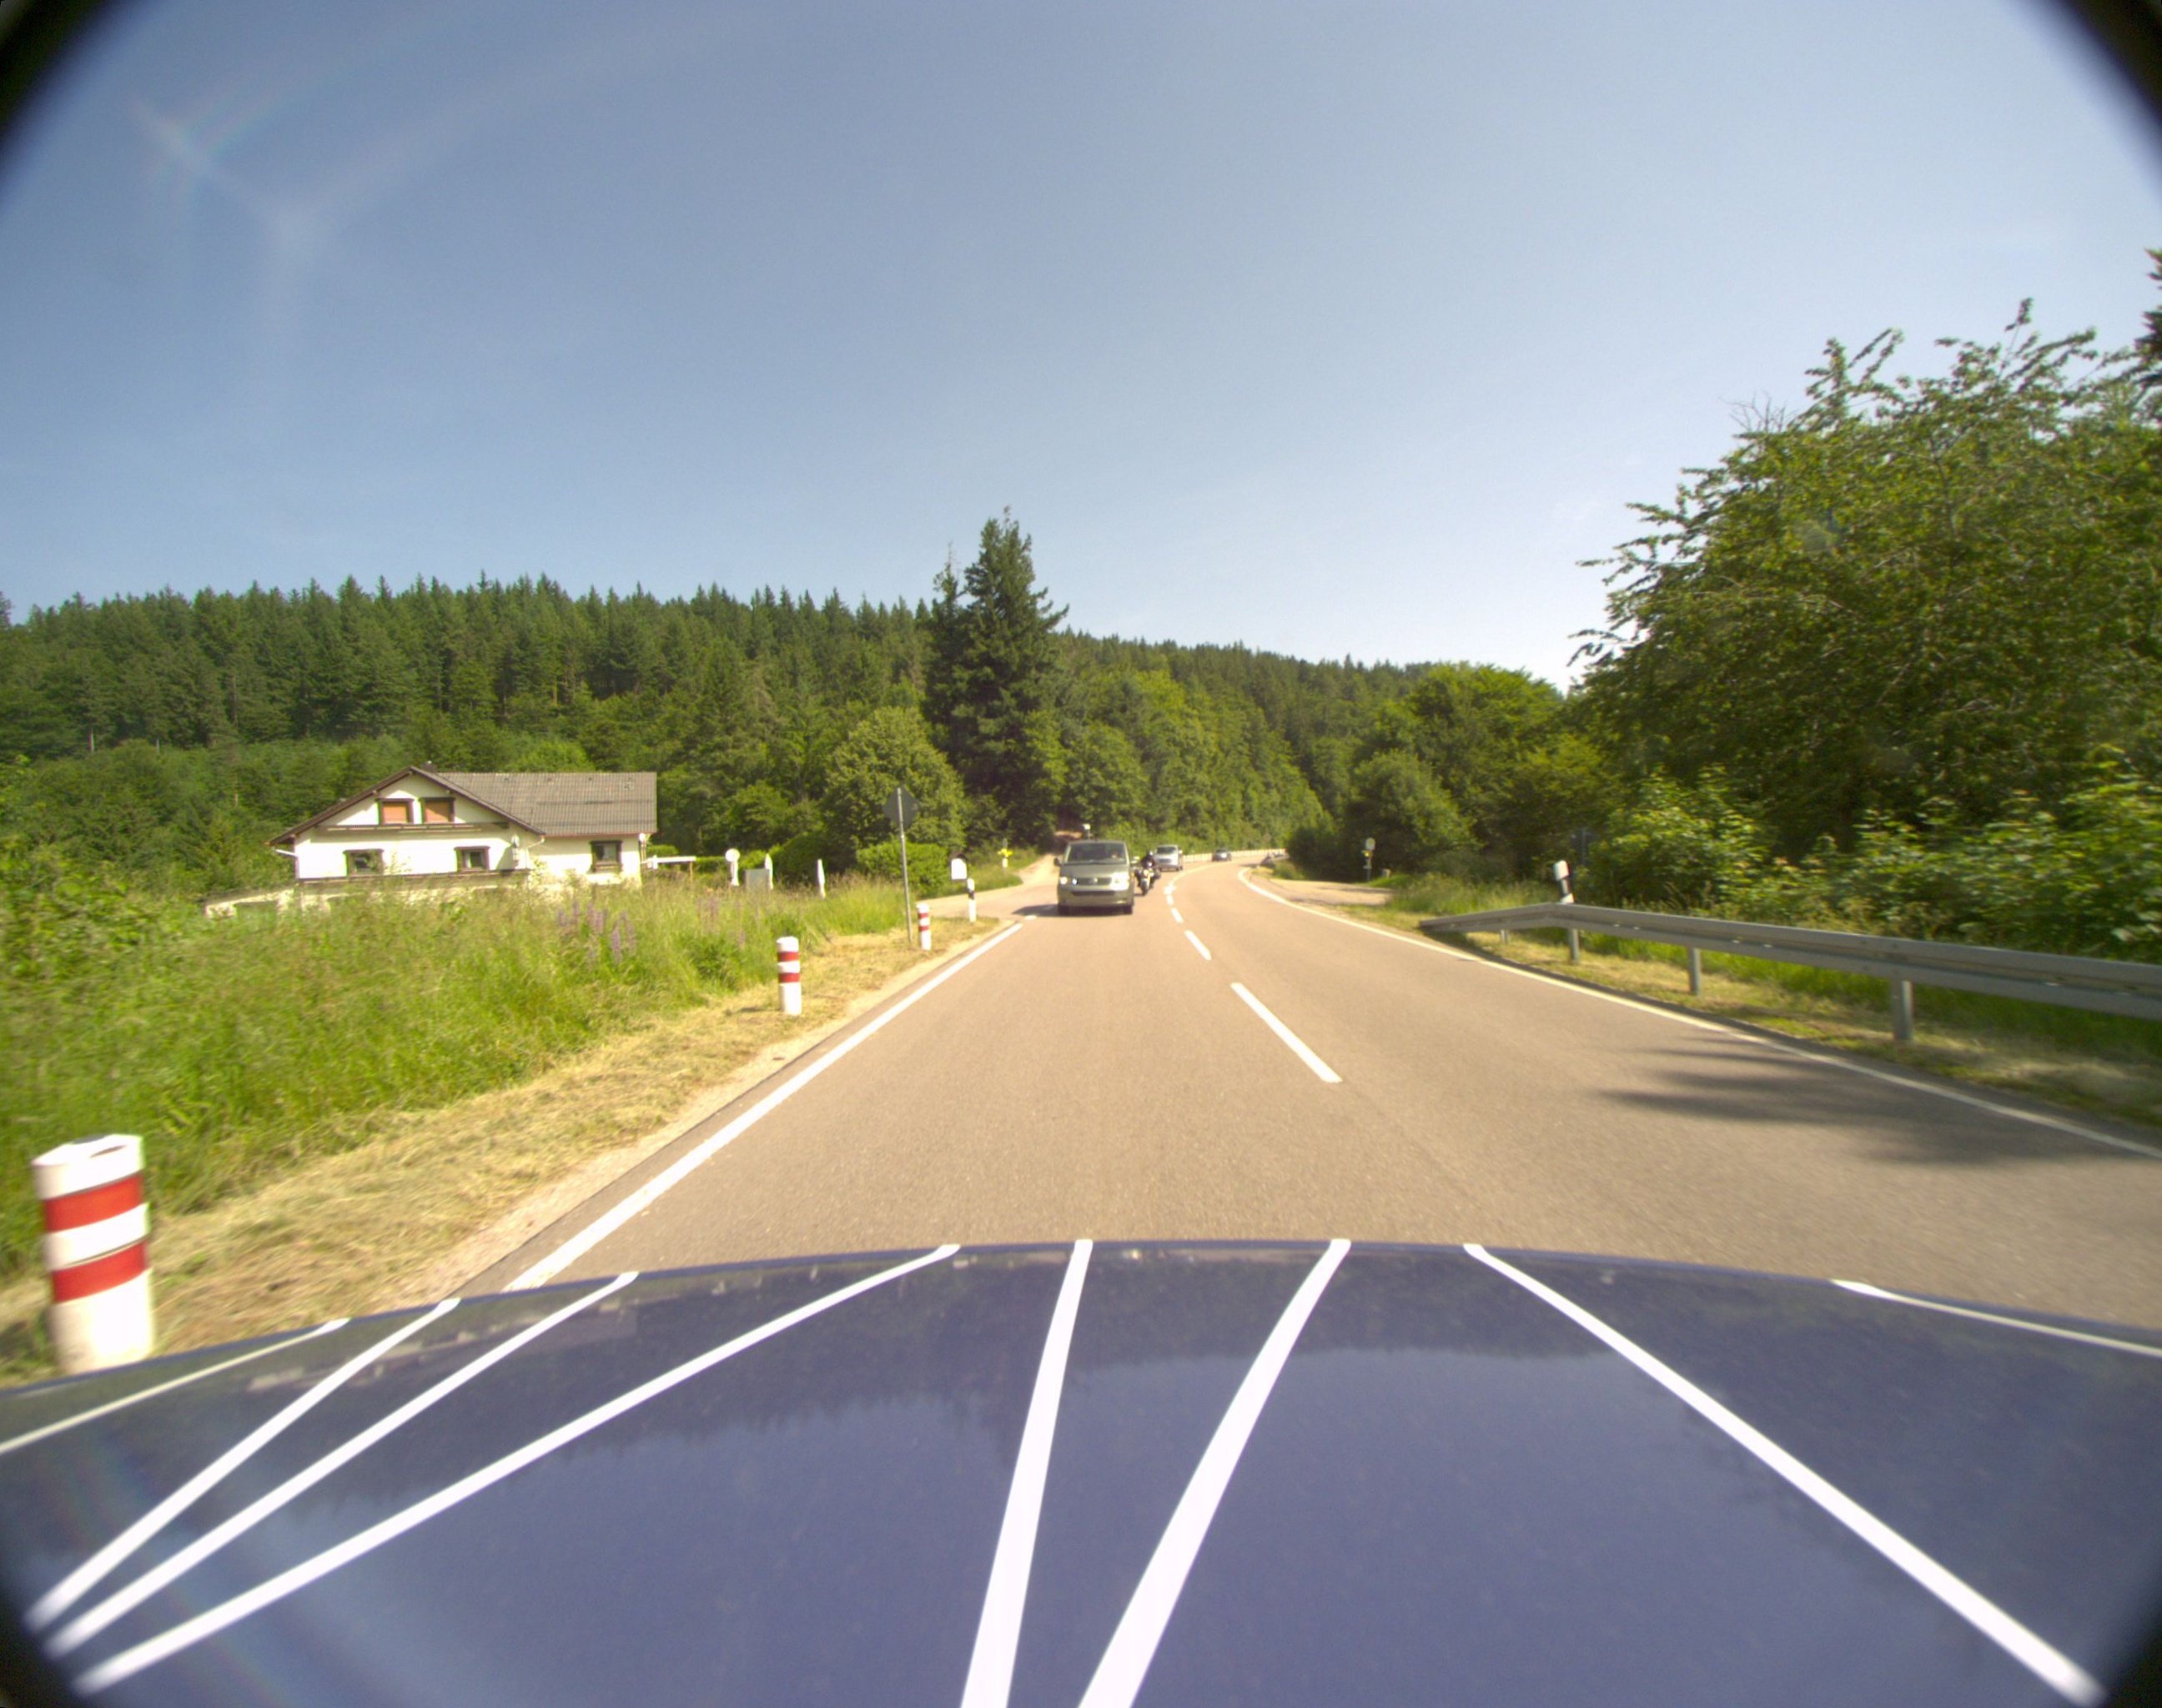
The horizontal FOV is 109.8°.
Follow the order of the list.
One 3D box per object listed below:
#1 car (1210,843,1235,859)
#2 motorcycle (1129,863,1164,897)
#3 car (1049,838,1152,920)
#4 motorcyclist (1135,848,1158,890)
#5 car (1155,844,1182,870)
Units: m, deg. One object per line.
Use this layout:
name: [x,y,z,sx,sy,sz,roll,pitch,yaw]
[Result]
car: [15.769,-0.305,84.555,1.996,1.633,4.005,-2,0,20]
motorcycle: [2.361,0.907,27.093,1.109,1.117,1.962,-1,1,8]
car: [0.677,0.596,20.685,2.028,1.940,4.903,-1,0,10]
motorcyclist: [2.345,0.525,27.111,0.716,1.421,1.000,-4,0,6]
car: [6.331,0.183,54.729,1.651,1.749,3.797,-1,1,11]
